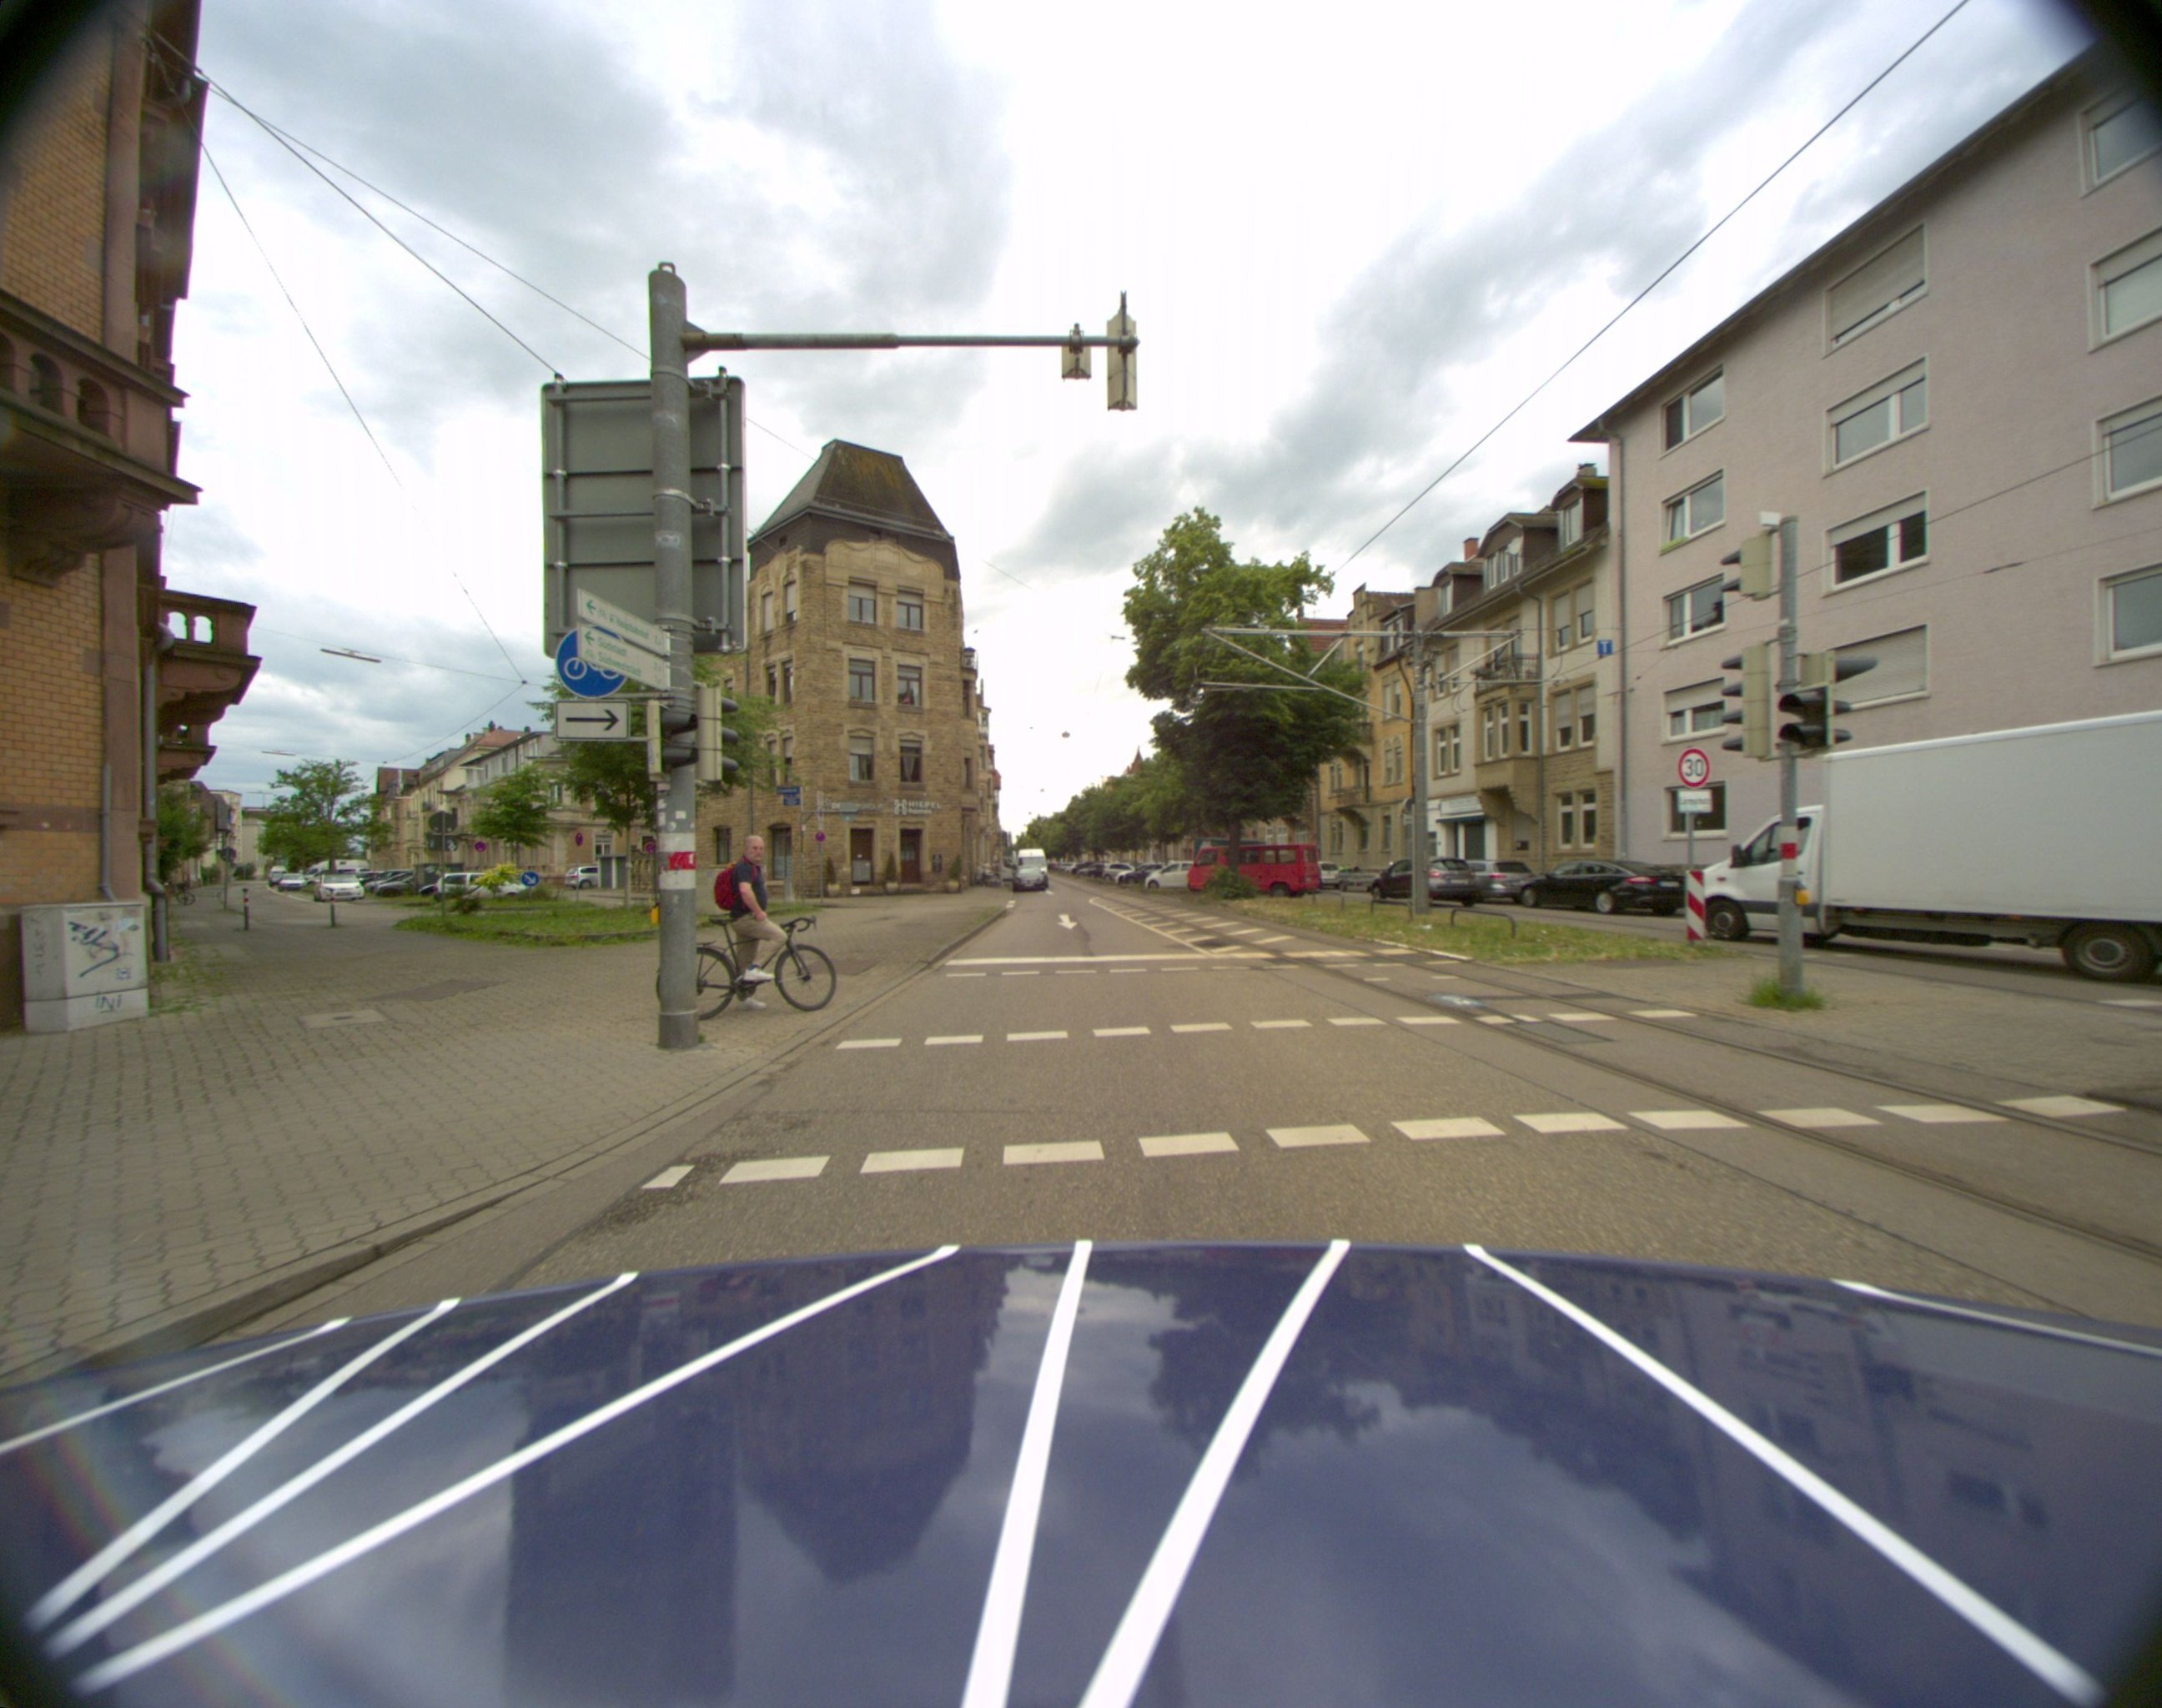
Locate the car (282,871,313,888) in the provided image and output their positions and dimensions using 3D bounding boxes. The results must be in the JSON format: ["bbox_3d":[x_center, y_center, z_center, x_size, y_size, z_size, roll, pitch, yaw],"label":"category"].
[{"bbox_3d":[-67.911,2.193,65.829,4.032,1.425,1.759,0,-1,43],"label":"car"}]

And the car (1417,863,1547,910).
[{"bbox_3d":[13.613,1.055,26.145,1.640,1.434,4.568,-1,0,-7],"label":"car"}]

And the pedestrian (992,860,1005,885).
[{"bbox_3d":[-5.678,1.291,52.412,0.706,1.690,0.491,2,0,-33],"label":"pedestrian"}]

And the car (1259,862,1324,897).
[{"bbox_3d":[9.928,1.155,36.145,1.649,1.525,3.627,-1,0,-8],"label":"car"}]

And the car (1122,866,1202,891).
[{"bbox_3d":[4.746,1.429,44.779,4.328,1.426,1.903,-1,0,37],"label":"car"}]

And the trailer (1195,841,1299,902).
[{"bbox_3d":[6.688,0.684,30.605,3.661,2.330,1.935,-1,0,28],"label":"trailer"}]

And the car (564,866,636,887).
[{"bbox_3d":[-34.195,1.593,54.087,1.750,1.425,4.053,0,-1,45],"label":"car"}]

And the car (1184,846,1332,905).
[{"bbox_3d":[6.293,0.745,27.228,4.755,1.962,1.963,-1,0,33],"label":"car"}]

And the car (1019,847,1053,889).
[{"bbox_3d":[-3.082,0.916,50.713,2.019,2.534,7.014,-2,0,-4],"label":"car"}]

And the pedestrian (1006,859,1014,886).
[{"bbox_3d":[-4.830,1.266,51.744,0.500,1.804,0.803,2,0,-4],"label":"pedestrian"}]

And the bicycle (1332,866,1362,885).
[{"bbox_3d":[15.276,1.213,43.661,0.713,1.066,2.258,-1,0,-7],"label":"bicycle"}]

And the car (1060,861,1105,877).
[{"bbox_3d":[0.151,1.537,79.282,4.520,1.623,1.769,-1,0,39],"label":"car"}]

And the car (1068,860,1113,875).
[{"bbox_3d":[1.039,1.468,82.946,4.529,1.481,2.040,-1,0,39],"label":"car"}]

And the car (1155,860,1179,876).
[{"bbox_3d":[8.827,1.459,78.555,1.667,1.550,3.720,-1,0,-6],"label":"car"}]

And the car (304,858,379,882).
[{"bbox_3d":[-78.677,1.702,80.926,5.327,2.488,2.346,0,0,-12],"label":"car"}]

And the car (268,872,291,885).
[{"bbox_3d":[-91.752,2.775,86.960,4.032,1.425,1.759,0,-1,43],"label":"car"}]

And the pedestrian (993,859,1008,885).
[{"bbox_3d":[-5.336,1.206,50.205,0.866,1.690,0.537,2,0,-19],"label":"pedestrian"}]

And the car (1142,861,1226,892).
[{"bbox_3d":[5.131,1.130,38.051,3.852,1.454,1.693,-1,0,37],"label":"car"}]

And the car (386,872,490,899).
[{"bbox_3d":[-35.636,1.740,42.227,4.048,1.425,1.752,1,-1,-20],"label":"car"}]

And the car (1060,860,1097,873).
[{"bbox_3d":[-0.357,1.617,97.876,4.552,1.484,1.867,-1,0,40],"label":"car"}]

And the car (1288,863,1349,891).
[{"bbox_3d":[12.694,1.192,40.785,1.640,1.434,3.921,-1,0,-7],"label":"car"}]

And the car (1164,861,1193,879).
[{"bbox_3d":[9.406,1.538,73.766,1.746,1.617,4.551,-1,0,-6],"label":"car"}]

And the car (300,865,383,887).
[{"bbox_3d":[-72.235,2.149,74.324,5.327,2.011,2.346,0,0,-12],"label":"car"}]

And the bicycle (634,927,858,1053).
[{"bbox_3d":[-3.278,1.273,7.516,1.872,0.918,0.794,-1,0,-37],"label":"bicycle"}]

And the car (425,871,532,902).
[{"bbox_3d":[-28.369,1.520,35.869,3.544,1.425,1.705,1,-1,-14],"label":"car"}]

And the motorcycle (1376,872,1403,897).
[{"bbox_3d":[13.527,1.328,33.380,0.710,1.032,2.232,-1,0,12],"label":"motorcycle"}]

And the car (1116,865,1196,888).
[{"bbox_3d":[4.720,1.416,48.244,4.675,1.426,1.903,-1,0,34],"label":"car"}]

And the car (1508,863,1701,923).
[{"bbox_3d":[14.153,0.982,20.973,1.640,1.434,4.760,-1,0,-7],"label":"car"}]

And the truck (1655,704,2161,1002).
[{"bbox_3d":[12.115,-0.017,10.425,2.191,3.139,7.326,-1,0,-8],"label":"truck"}]

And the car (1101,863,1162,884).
[{"bbox_3d":[3.703,1.403,55.722,4.106,1.475,1.801,-1,0,35],"label":"car"}]

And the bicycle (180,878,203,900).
[{"bbox_3d":[-42.970,1.664,36.695,0.570,0.997,1.774,-1,0,-45],"label":"bicycle"}]

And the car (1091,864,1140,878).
[{"bbox_3d":[2.995,1.477,65.770,3.952,1.195,1.672,-1,0,38],"label":"car"}]

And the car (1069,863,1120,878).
[{"bbox_3d":[1.252,1.623,72.638,4.655,1.360,1.761,-1,0,37],"label":"car"}]

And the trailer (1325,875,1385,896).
[{"bbox_3d":[12.994,1.471,36.240,1.459,0.887,3.075,1,-1,-7],"label":"trailer"}]

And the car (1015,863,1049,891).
[{"bbox_3d":[-2.858,1.290,44.308,1.829,1.441,5.005,-2,0,-4],"label":"car"}]

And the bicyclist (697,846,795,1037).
[{"bbox_3d":[-3.381,0.822,7.639,0.683,1.784,0.889,-1,0,-37],"label":"bicyclist"}]

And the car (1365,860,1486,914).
[{"bbox_3d":[10.919,0.991,24.444,1.649,1.525,4.129,-1,0,-7],"label":"car"}]

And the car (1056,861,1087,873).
[{"bbox_3d":[-1.326,1.805,108.224,4.195,1.600,1.728,0,1,36],"label":"car"}]

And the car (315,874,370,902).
[{"bbox_3d":[-40.504,1.834,41.662,4.032,1.425,1.759,0,-1,40],"label":"car"}]

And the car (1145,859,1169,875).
[{"bbox_3d":[8.321,1.413,83.485,1.774,1.619,4.318,-1,0,-6],"label":"car"}]

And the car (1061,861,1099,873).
[{"bbox_3d":[-0.144,1.505,90.426,4.118,1.304,1.867,-2,0,38],"label":"car"}]

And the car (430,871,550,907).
[{"bbox_3d":[-24.533,1.437,31.692,3.545,1.425,1.705,1,-1,-17],"label":"car"}]
